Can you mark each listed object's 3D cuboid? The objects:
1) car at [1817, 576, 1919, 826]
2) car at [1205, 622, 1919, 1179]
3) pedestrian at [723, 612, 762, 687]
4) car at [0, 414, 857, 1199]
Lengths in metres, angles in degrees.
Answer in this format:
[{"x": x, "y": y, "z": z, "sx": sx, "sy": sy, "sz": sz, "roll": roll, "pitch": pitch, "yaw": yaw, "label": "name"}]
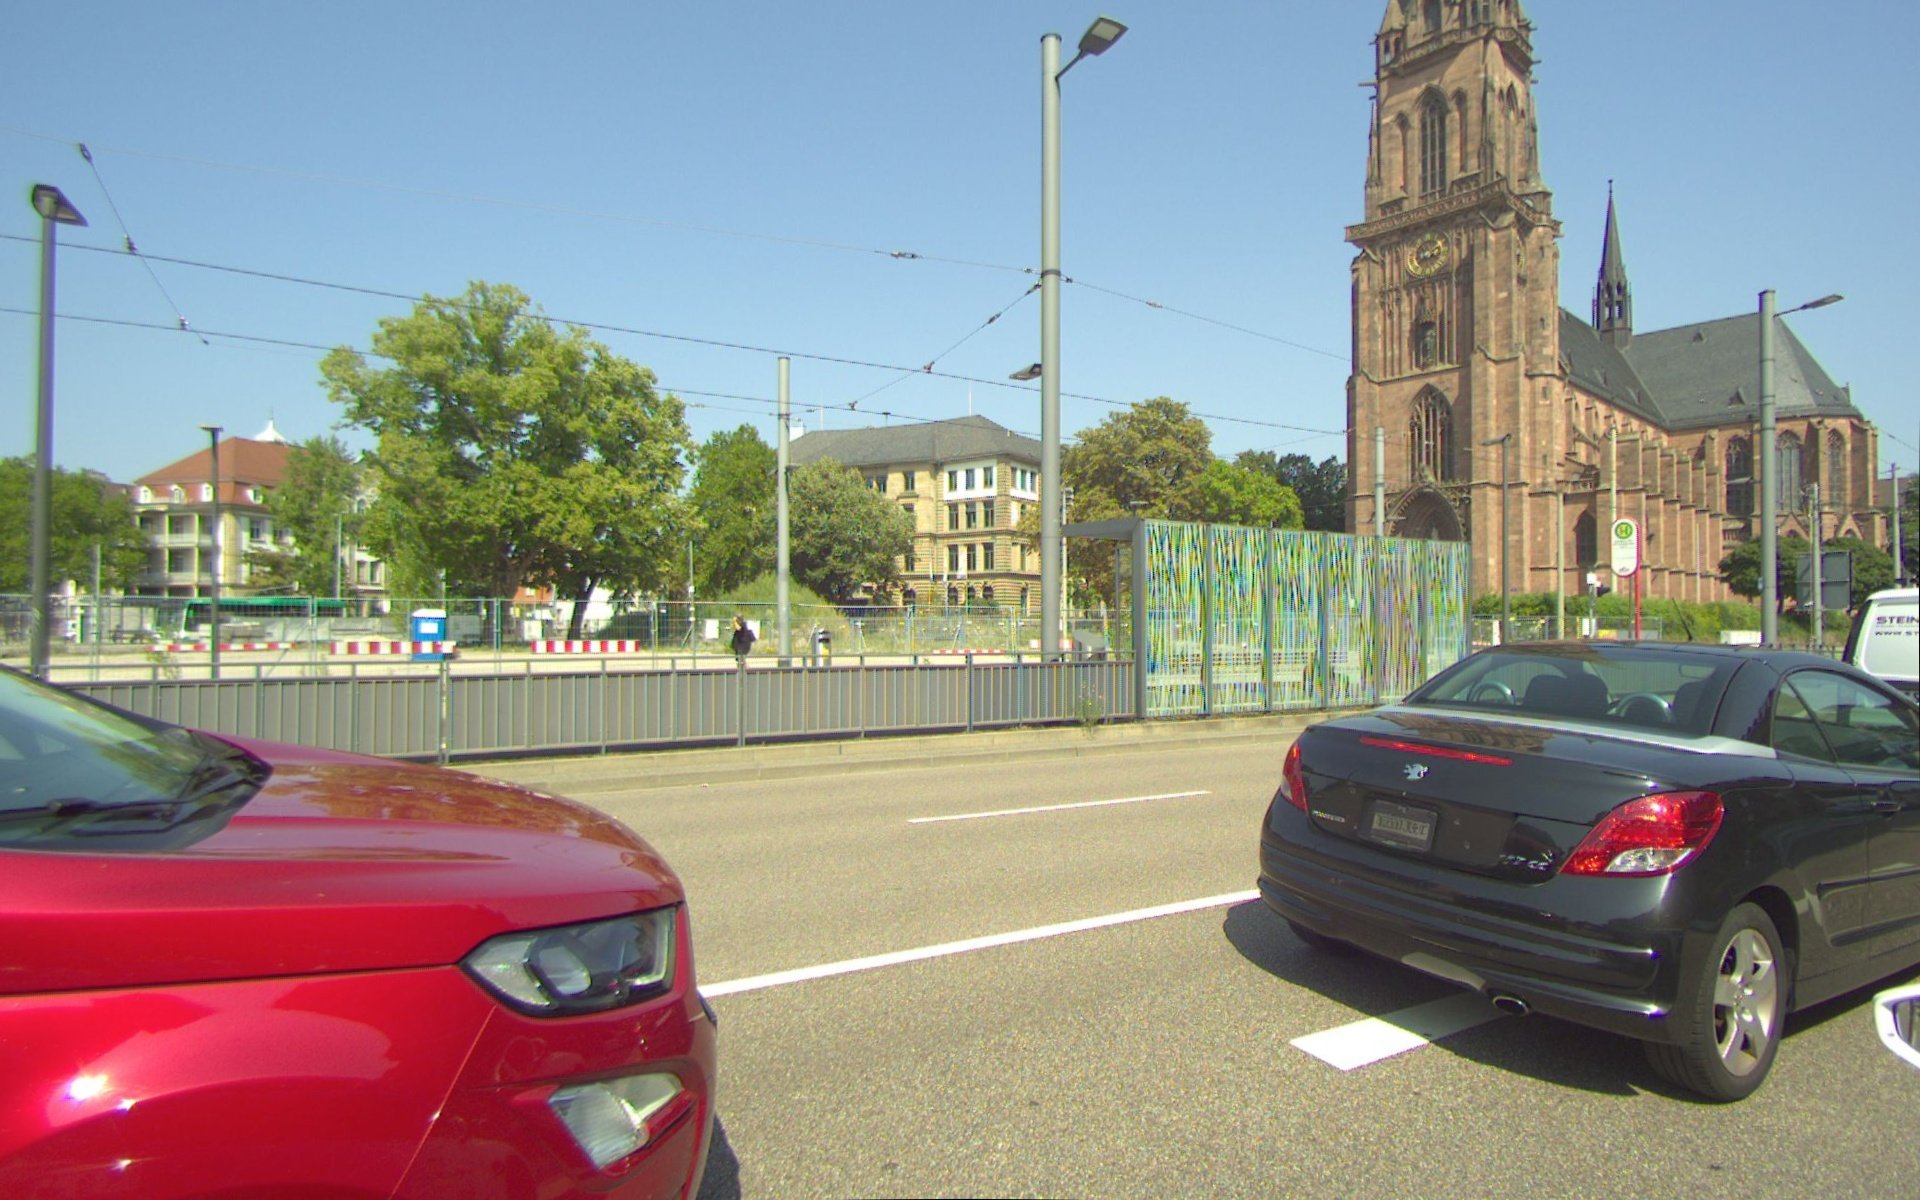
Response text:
[{"x": 9.027, "y": 0.775, "z": 8.253, "sx": 4.189, "sy": 1.844, "sz": 1.739, "roll": 1, "pitch": -1, "yaw": -30, "label": "car"}, {"x": 3.038, "y": 0.838, "z": 4.340, "sx": 3.757, "sy": 1.432, "sz": 1.680, "roll": 1, "pitch": 0, "yaw": -31, "label": "car"}, {"x": -5.348, "y": 1.210, "z": 24.695, "sx": 0.752, "sy": 1.811, "sz": 0.740, "roll": 1, "pitch": -1, "yaw": -29, "label": "pedestrian"}, {"x": -2.267, "y": 0.599, "z": 1.359, "sx": 3.920, "sy": 1.642, "sz": 1.623, "roll": 1, "pitch": 0, "yaw": -29, "label": "car"}]
